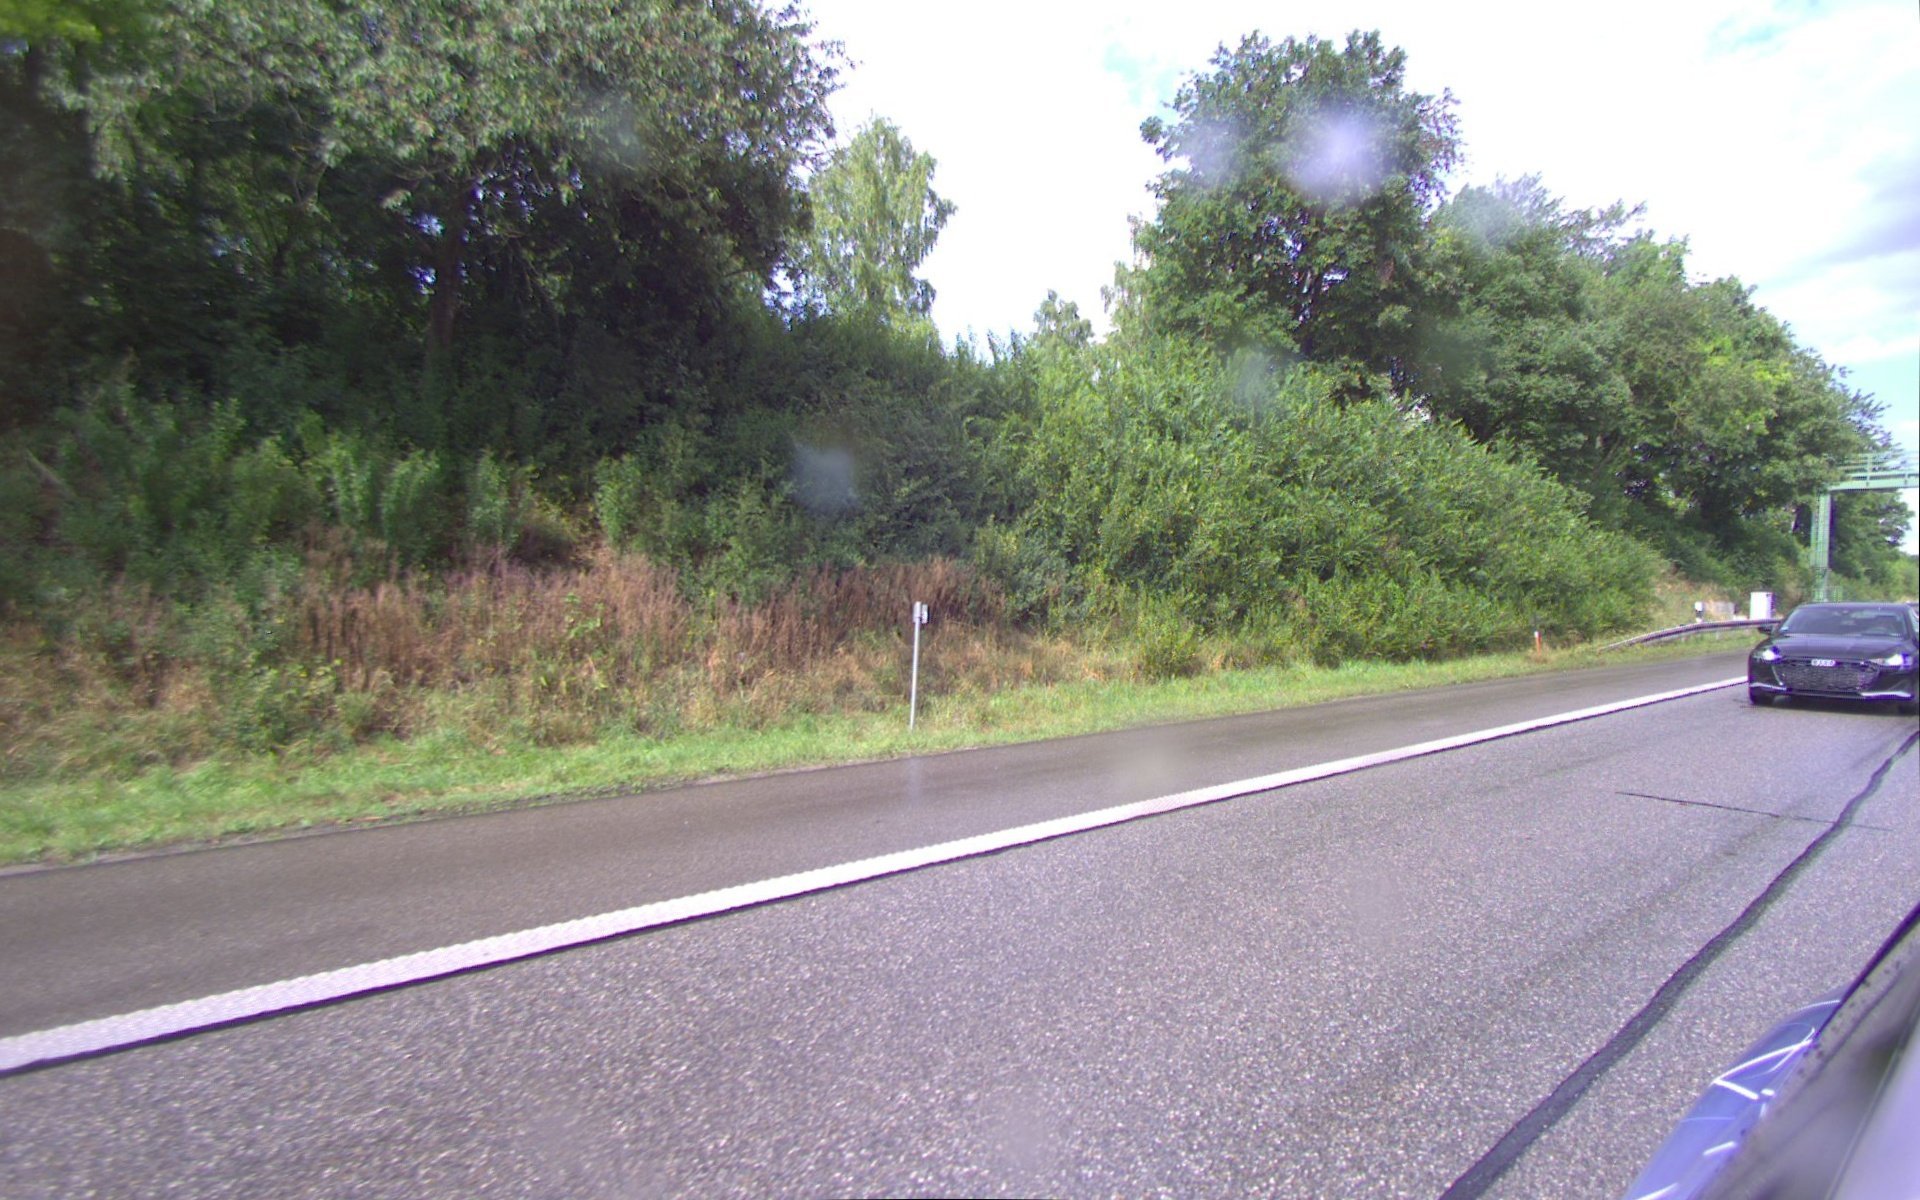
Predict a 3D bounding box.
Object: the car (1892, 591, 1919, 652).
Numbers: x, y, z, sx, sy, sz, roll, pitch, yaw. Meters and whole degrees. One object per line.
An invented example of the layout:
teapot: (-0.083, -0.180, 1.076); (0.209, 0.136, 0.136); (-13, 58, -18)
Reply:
car: (24.929, 0.529, 25.629); (3.681, 1.474, 1.653); (0, 1, -42)

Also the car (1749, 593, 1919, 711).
car: (12.694, 0.617, 14.233); (4.292, 1.414, 1.758); (0, 1, -41)
